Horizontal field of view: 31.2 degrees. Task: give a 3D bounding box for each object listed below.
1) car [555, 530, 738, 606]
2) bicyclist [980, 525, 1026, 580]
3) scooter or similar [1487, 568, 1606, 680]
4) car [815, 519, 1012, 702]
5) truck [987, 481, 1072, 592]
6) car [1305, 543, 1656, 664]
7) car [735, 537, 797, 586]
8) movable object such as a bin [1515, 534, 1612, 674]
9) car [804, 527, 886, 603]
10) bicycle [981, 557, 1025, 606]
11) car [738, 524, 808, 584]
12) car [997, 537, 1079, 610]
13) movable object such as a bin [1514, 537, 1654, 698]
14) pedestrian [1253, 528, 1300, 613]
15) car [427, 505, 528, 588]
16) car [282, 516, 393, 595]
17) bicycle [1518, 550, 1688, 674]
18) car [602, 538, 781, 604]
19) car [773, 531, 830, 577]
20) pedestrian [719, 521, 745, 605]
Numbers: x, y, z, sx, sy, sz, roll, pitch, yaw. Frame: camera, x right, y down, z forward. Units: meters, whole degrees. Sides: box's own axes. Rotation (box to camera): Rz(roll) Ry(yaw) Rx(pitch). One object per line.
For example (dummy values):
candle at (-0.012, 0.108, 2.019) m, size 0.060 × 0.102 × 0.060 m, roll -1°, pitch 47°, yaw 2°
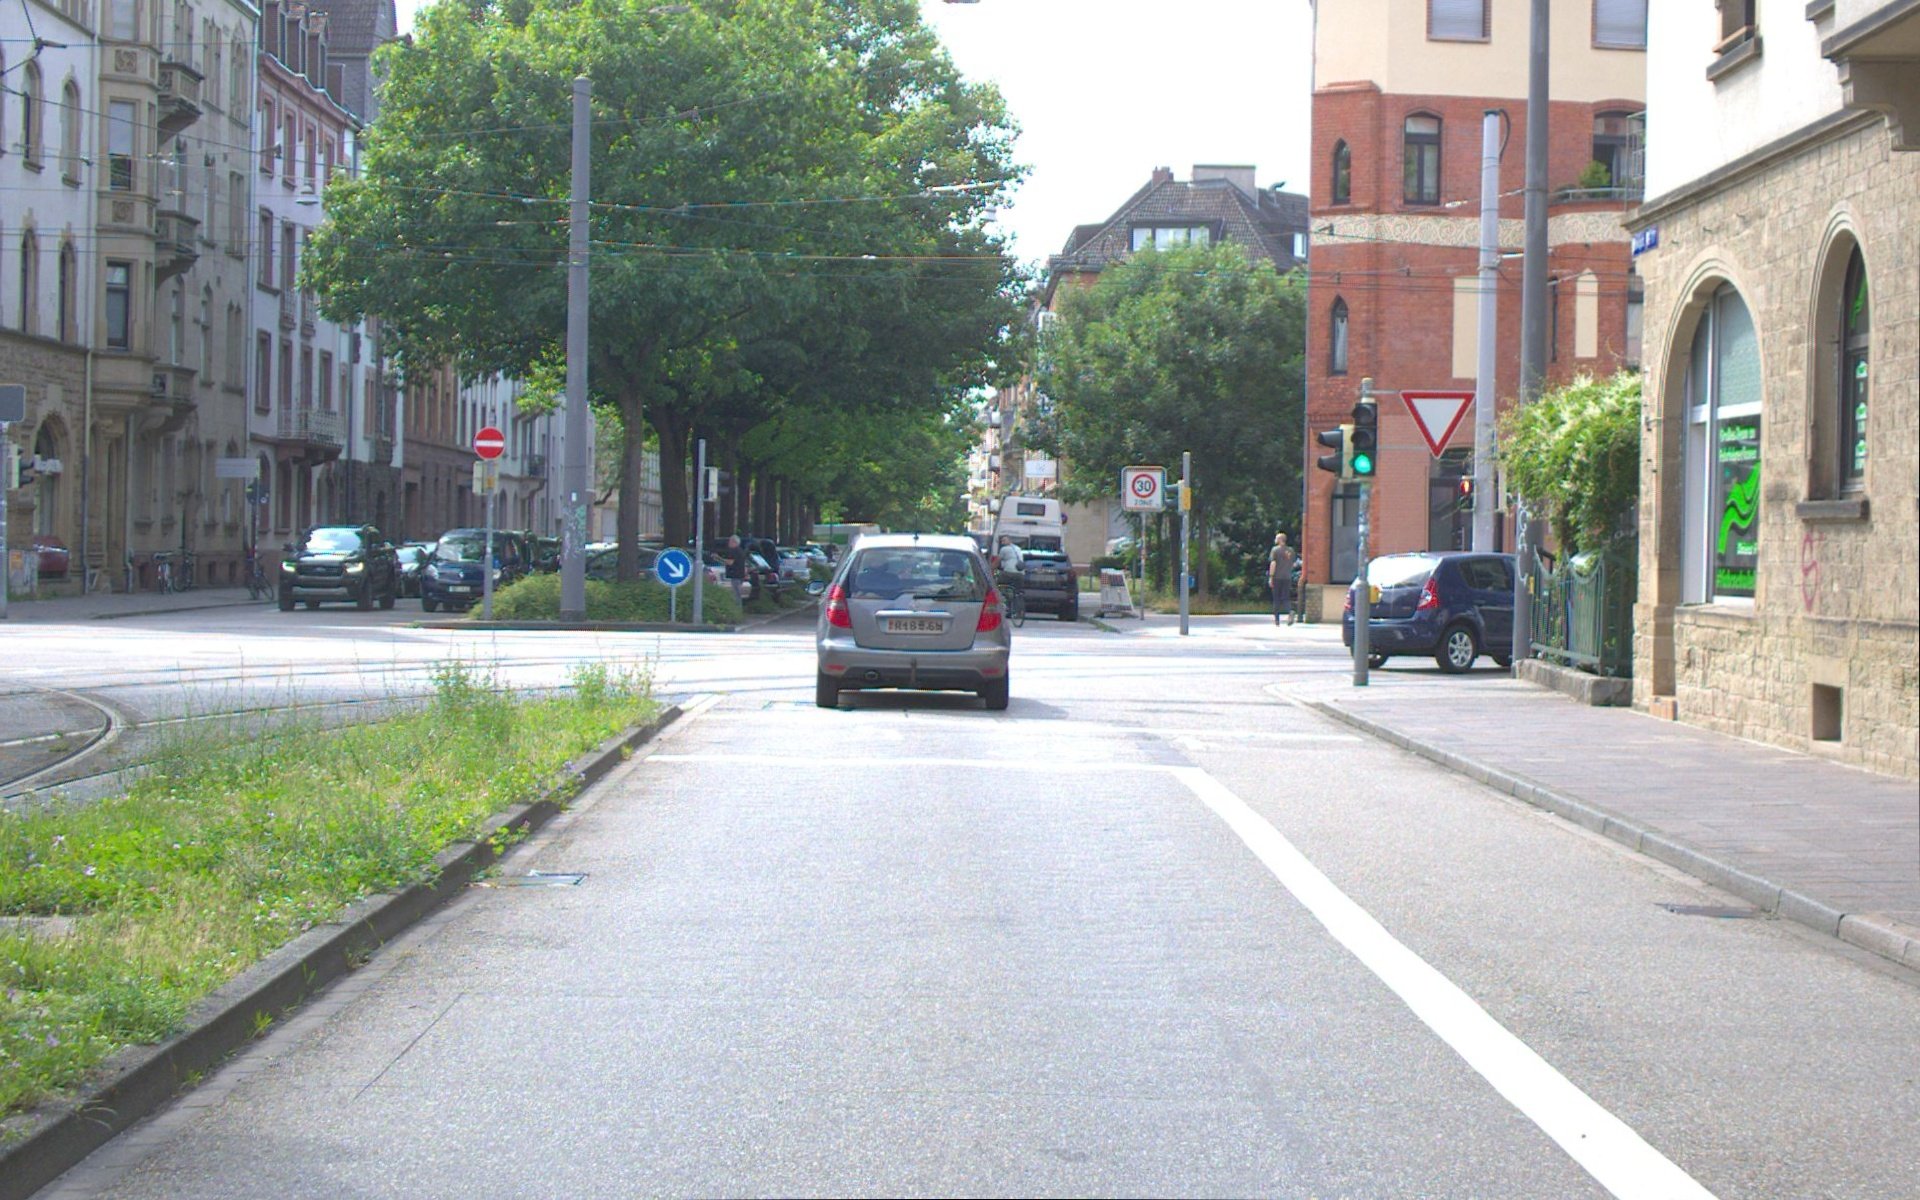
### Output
car at (-6.716, -0.694, 73.339) m, size 1.969 × 1.489 × 3.999 m, roll 1°, pitch 1°, yaw -39°
bicyclist at (0.872, -0.956, 68.651) m, size 0.836 × 1.078 × 1.400 m, roll 1°, pitch 1°, yaw 4°
scooter or similar at (6.456, 0.259, 37.836) m, size 1.193 × 1.212 × 0.463 m, roll 1°, pitch 1°, yaw -7°
car at (-0.395, 0.059, 32.268) m, size 1.722 × 1.600 × 3.677 m, roll 1°, pitch 1°, yaw 1°
truck at (1.917, -1.730, 94.136) m, size 2.123 × 2.960 × 4.000 m, roll 1°, pitch 1°, yaw 4°
car at (6.634, 0.043, 43.840) m, size 3.986 × 1.437 × 1.987 m, roll 1°, pitch 1°, yaw -27°
car at (-6.282, -1.258, 111.452) m, size 1.752 × 1.512 × 3.499 m, roll 2°, pitch 1°, yaw 0°
movable object such as a bin at (6.411, 0.033, 36.563) m, size 0.714 × 1.467 × 0.983 m, roll 1°, pitch 1°, yaw -9°
car at (-2.651, -0.830, 79.950) m, size 1.722 × 1.700 × 3.677 m, roll 1°, pitch 1°, yaw 1°
bicycle at (0.869, -0.382, 68.692) m, size 0.749 × 0.955 × 2.298 m, roll 1°, pitch 1°, yaw 4°
car at (-5.298, -1.316, 97.682) m, size 1.752 × 1.627 × 3.499 m, roll 2°, pitch 1°, yaw 0°
car at (1.858, -0.640, 81.180) m, size 1.752 × 1.627 × 3.499 m, roll 2°, pitch 1°, yaw 4°
movable object such as a bin at (6.177, 0.151, 34.137) m, size 1.050 × 1.534 × 2.100 m, roll 1°, pitch 1°, yaw 2°
pedestrian at (6.264, -0.588, 68.104) m, size 0.869 × 1.651 × 0.736 m, roll 2°, pitch 1°, yaw 4°
car at (-10.455, -1.170, 74.693) m, size 1.993 × 1.722 × 4.001 m, roll 1°, pitch 1°, yaw -5°
car at (-13.195, -0.948, 73.056) m, size 1.993 × 1.612 × 4.001 m, roll 1°, pitch 1°, yaw -5°
bicycle at (7.001, 0.129, 37.432) m, size 1.827 × 1.324 × 0.277 m, roll 1°, pitch 1°, yaw -10°
car at (-5.955, -0.653, 75.953) m, size 1.969 × 1.334 × 3.999 m, roll 1°, pitch 1°, yaw -39°
car at (-5.427, -1.595, 118.319) m, size 1.752 × 1.512 × 3.499 m, roll 2°, pitch 1°, yaw 0°
pedestrian at (-4.723, -0.762, 71.202) m, size 0.493 × 1.719 × 0.654 m, roll 1°, pitch 1°, yaw -5°
